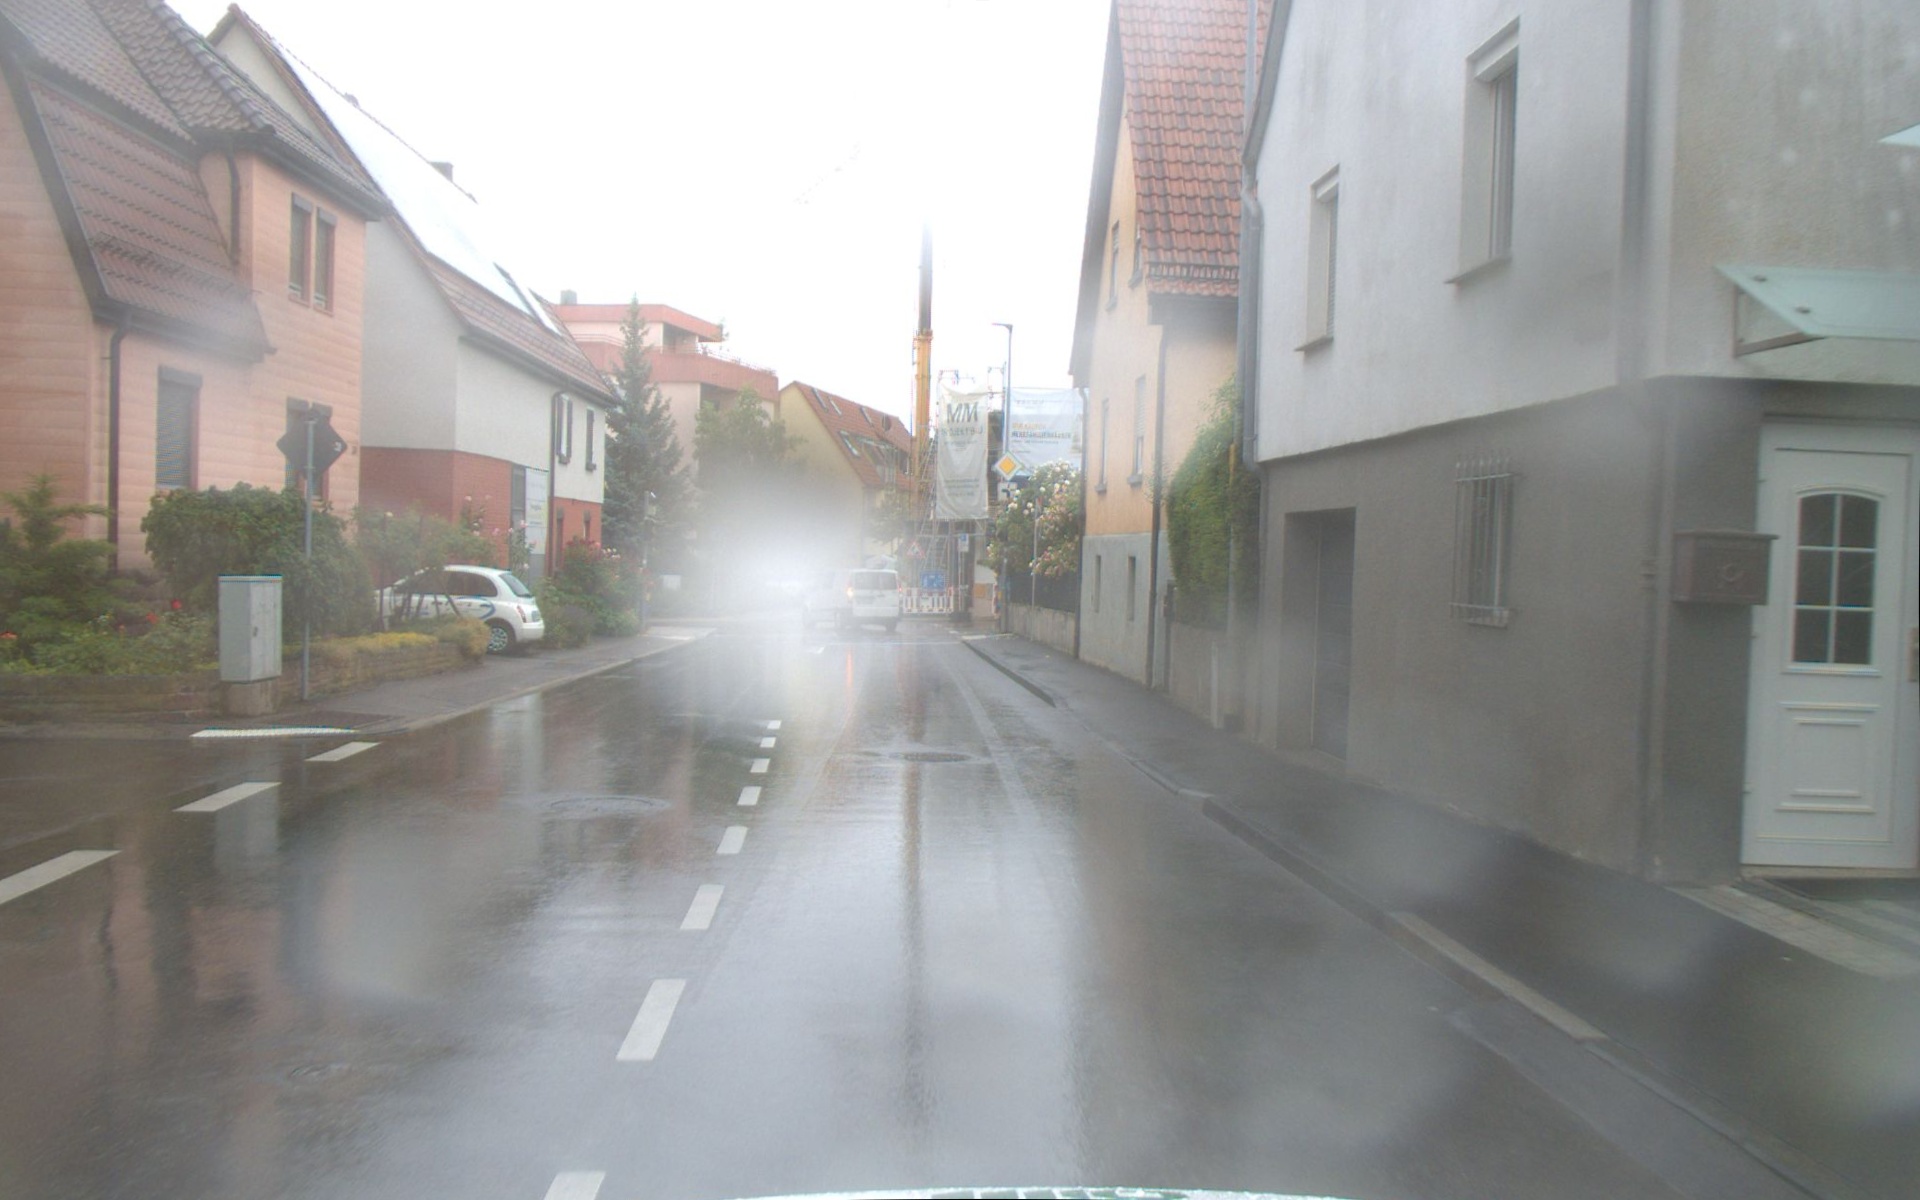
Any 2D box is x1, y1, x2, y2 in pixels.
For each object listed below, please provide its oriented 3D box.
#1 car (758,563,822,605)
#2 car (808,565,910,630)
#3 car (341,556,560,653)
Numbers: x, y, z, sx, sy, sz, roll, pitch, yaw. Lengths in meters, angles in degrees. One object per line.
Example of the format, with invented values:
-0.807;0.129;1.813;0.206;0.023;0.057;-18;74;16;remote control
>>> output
-7.327;-0.708;71.745;1.566;1.707;3.942;2;2;12;car
-3.141;-0.081;50.728;2.148;1.902;3.979;1;0;-19;car
-9.380;0.085;30.652;3.474;1.555;1.662;3;0;-2;car
